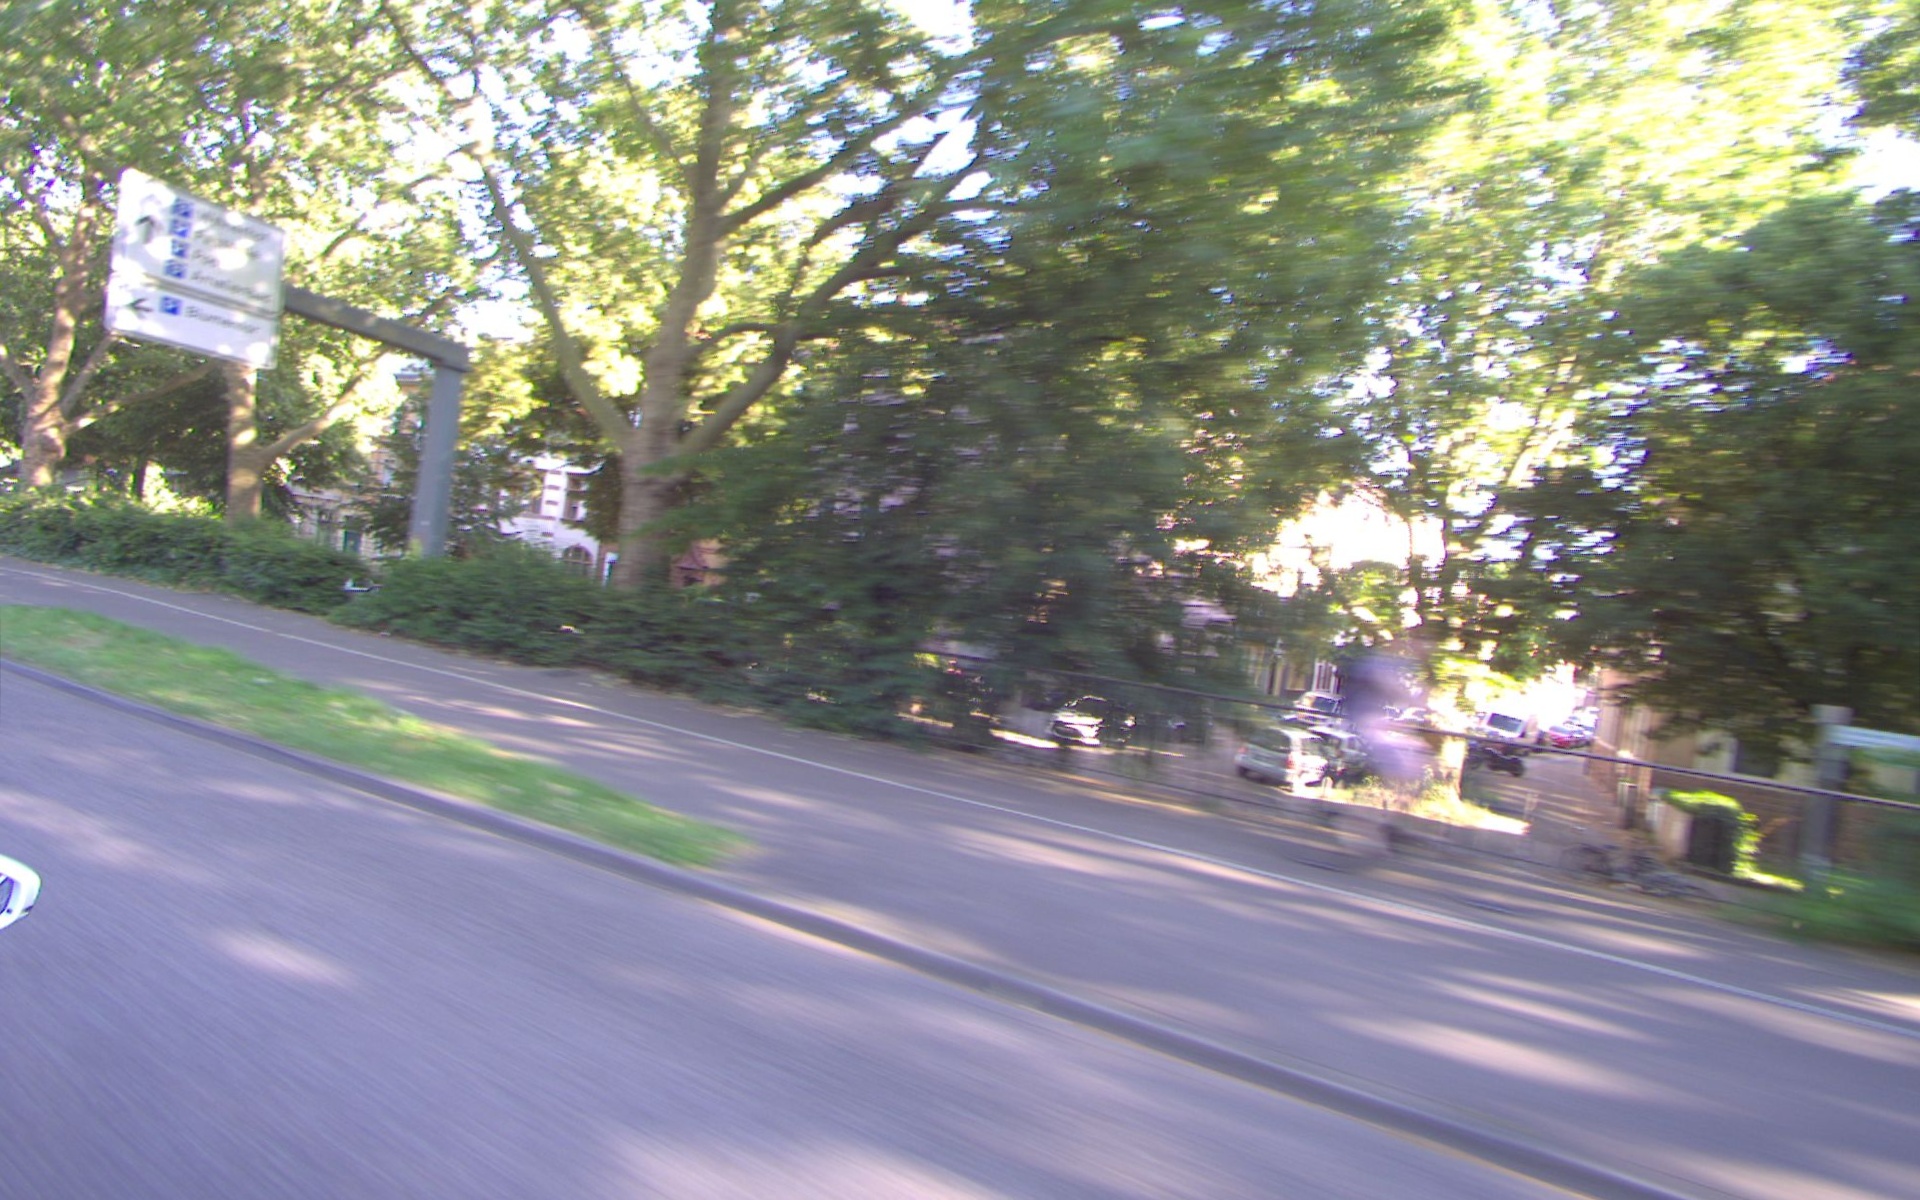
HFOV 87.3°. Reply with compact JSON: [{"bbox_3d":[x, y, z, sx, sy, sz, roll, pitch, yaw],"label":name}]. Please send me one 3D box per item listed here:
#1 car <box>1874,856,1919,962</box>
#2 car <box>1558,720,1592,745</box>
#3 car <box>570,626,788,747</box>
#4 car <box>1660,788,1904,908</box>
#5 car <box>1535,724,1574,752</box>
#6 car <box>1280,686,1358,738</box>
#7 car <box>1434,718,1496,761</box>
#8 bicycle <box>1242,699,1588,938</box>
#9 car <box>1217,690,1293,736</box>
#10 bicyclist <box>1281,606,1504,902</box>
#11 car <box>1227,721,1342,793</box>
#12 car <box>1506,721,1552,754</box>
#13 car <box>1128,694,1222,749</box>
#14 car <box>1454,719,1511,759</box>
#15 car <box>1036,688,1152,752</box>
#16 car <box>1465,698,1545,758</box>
[{"bbox_3d":[17.633,5.678,16.911,1.860,1.535,3.996,7,2,21],"label":"car"},{"bbox_3d":[48.348,10.368,79.093,1.772,1.528,4.141,11,1,36],"label":"car"},{"bbox_3d":[-5.809,1.736,20.733,4.030,1.833,1.908,7,-2,31],"label":"car"},{"bbox_3d":[18.541,5.549,22.965,3.933,1.530,1.795,7,2,31],"label":"car"},{"bbox_3d":[40.951,9.467,69.239,1.772,1.528,4.141,11,1,36],"label":"car"},{"bbox_3d":[17.510,5.374,48.917,2.092,1.994,4.604,11,3,36],"label":"car"},{"bbox_3d":[23.714,6.499,47.174,1.772,1.528,4.141,11,1,36],"label":"car"},{"bbox_3d":[2.998,1.367,6.749,1.901,1.121,0.699,7,0,39],"label":"bicycle"},{"bbox_3d":[12.977,4.906,44.150,1.772,1.530,3.986,11,3,36],"label":"car"},{"bbox_3d":[2.929,0.987,6.833,1.064,1.749,0.699,7,1,39],"label":"bicyclist"},{"bbox_3d":[9.387,4.437,28.920,1.772,1.528,4.142,11,1,36],"label":"car"},{"bbox_3d":[34.530,8.317,60.989,1.772,1.528,4.141,11,1,36],"label":"car"},{"bbox_3d":[8.025,4.433,37.289,1.772,1.530,3.986,11,3,36],"label":"car"},{"bbox_3d":[26.320,6.956,50.623,1.772,1.528,4.141,11,1,36],"label":"car"},{"bbox_3d":[4.362,3.783,32.317,1.772,1.530,4.138,11,3,36],"label":"car"},{"bbox_3d":[30.223,7.053,55.675,2.497,2.652,6.100,11,1,39],"label":"car"}]
